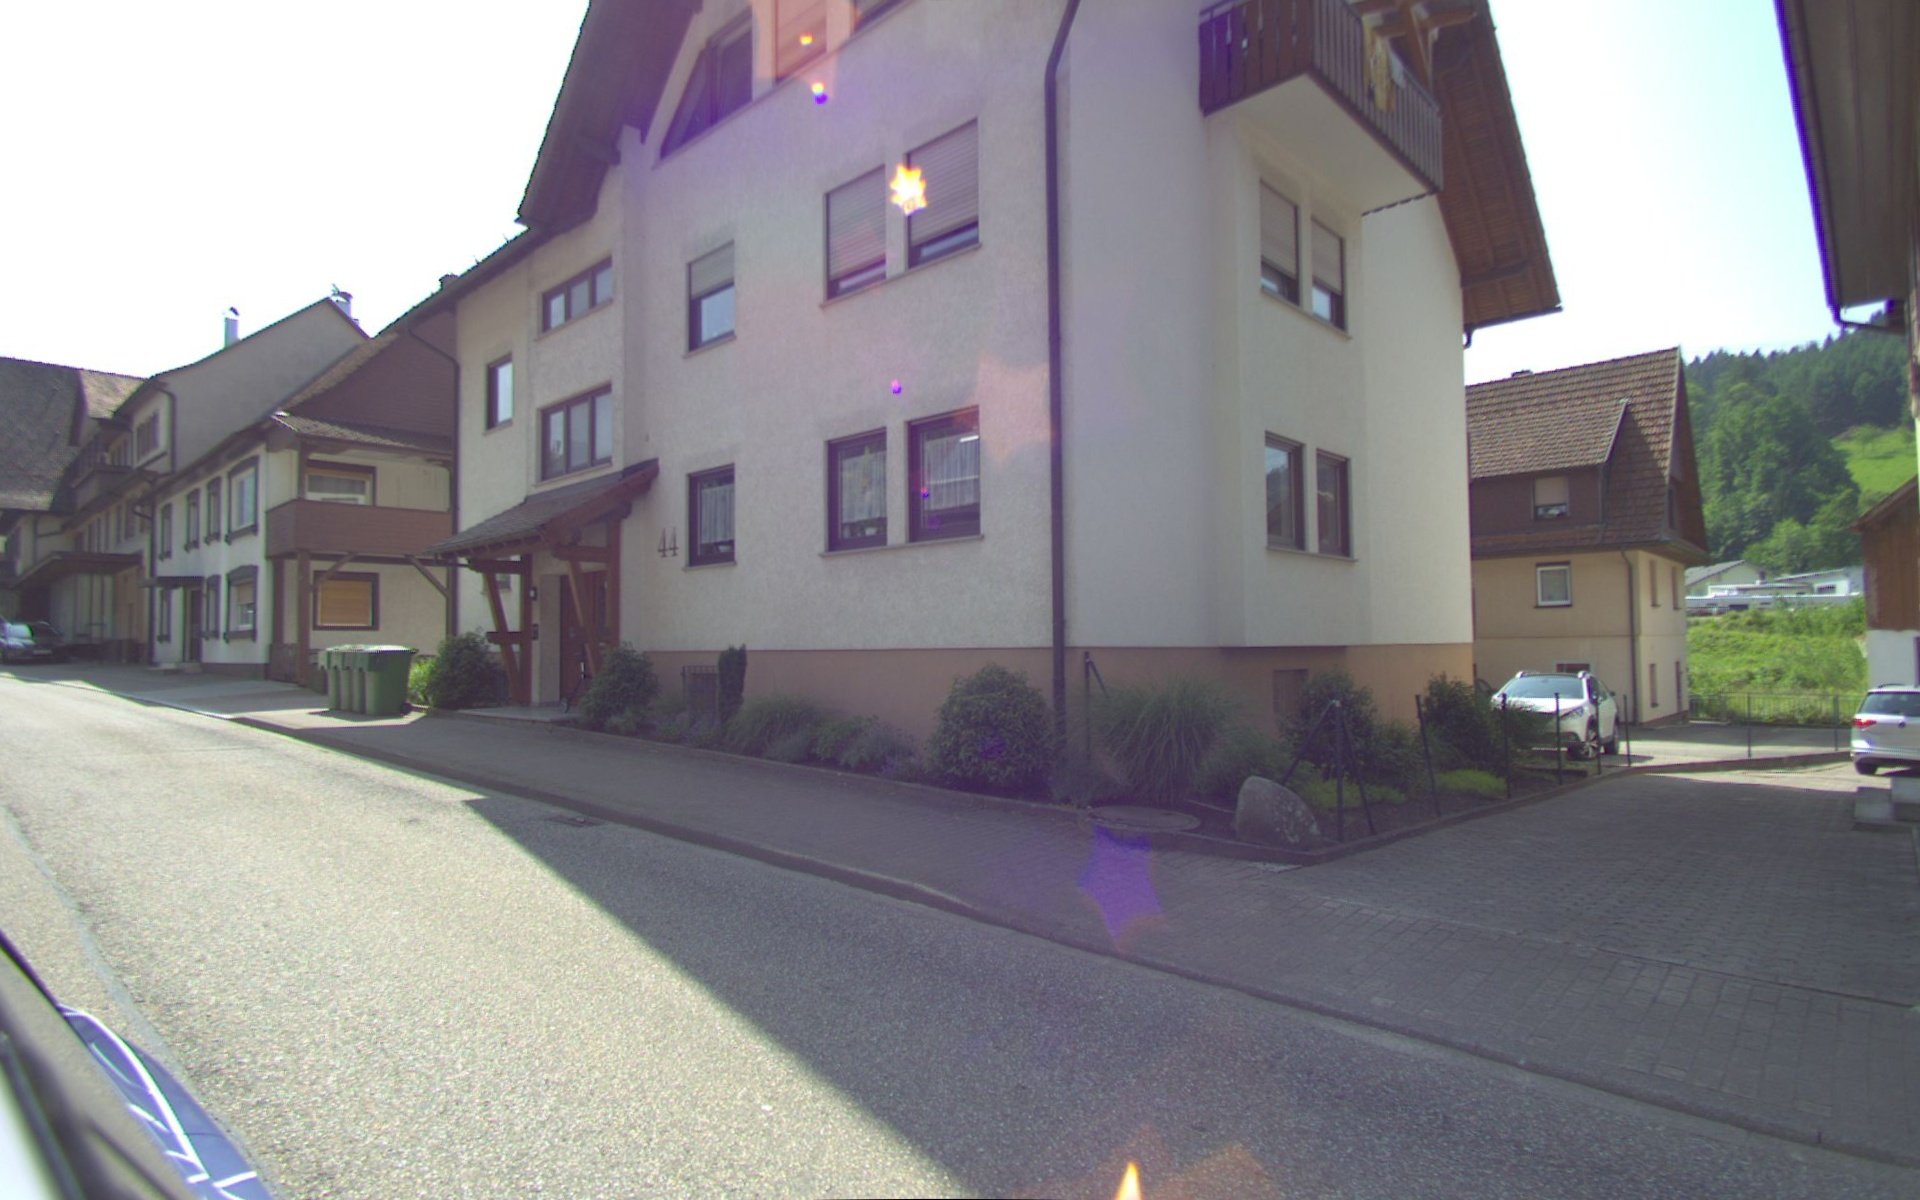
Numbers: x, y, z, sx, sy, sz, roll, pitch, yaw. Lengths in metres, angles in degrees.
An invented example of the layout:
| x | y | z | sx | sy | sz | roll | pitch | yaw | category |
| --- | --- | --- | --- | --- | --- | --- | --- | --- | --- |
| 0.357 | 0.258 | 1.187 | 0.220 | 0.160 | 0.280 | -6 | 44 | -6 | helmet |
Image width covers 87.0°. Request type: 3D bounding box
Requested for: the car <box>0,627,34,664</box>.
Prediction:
| x | y | z | sx | sy | sz | roll | pitch | yaw | category |
| --- | --- | --- | --- | --- | --- | --- | --- | --- | --- |
| -40.389 | 1.818 | 40.971 | 1.752 | 1.514 | 4.053 | -2 | -3 | 40 | car |

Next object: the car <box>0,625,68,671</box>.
| x | y | z | sx | sy | sz | roll | pitch | yaw | category |
| --- | --- | --- | --- | --- | --- | --- | --- | --- | --- |
| -34.191 | 1.707 | 36.993 | 4.281 | 1.565 | 1.752 | -1 | -2 | 40 | car |

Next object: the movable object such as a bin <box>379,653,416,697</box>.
| x | y | z | sx | sy | sz | roll | pitch | yaw | category |
| --- | --- | --- | --- | --- | --- | --- | --- | --- | --- |
| -14.170 | 1.882 | 25.487 | 0.632 | 1.059 | 0.600 | -1 | -4 | 42 | movable object such as a bin |

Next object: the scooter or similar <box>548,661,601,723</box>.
| x | y | z | sx | sy | sz | roll | pitch | yaw | category |
| --- | --- | --- | --- | --- | --- | --- | --- | --- | --- |
| -5.362 | 1.266 | 14.076 | 0.537 | 0.832 | 0.500 | -3 | -4 | 41 | scooter or similar |

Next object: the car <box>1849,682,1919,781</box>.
| x | y | z | sx | sy | sz | roll | pitch | yaw | category |
| --- | --- | --- | --- | --- | --- | --- | --- | --- | --- |
| 17.303 | 2.299 | 17.845 | 2.631 | 1.595 | 1.620 | 2 | -3 | -29 | car |

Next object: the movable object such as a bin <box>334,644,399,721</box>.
| x | y | z | sx | sy | sz | roll | pitch | yaw | category |
| --- | --- | --- | --- | --- | --- | --- | --- | --- | --- |
| -9.518 | 1.317 | 16.231 | 0.598 | 1.190 | 0.710 | -2 | -5 | 43 | movable object such as a bin |

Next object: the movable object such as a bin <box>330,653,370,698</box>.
| x | y | z | sx | sy | sz | roll | pitch | yaw | category |
| --- | --- | --- | --- | --- | --- | --- | --- | --- | --- |
| -14.860 | 1.839 | 24.665 | 0.696 | 1.059 | 0.614 | -1 | -4 | 42 | movable object such as a bin |

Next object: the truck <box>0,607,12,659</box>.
| x | y | z | sx | sy | sz | roll | pitch | yaw | category |
| --- | --- | --- | --- | --- | --- | --- | --- | --- | --- |
| -44.332 | 1.451 | 44.110 | 1.996 | 2.283 | 4.128 | -1 | -2 | 36 | truck |

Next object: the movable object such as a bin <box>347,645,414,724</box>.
| x | y | z | sx | sy | sz | roll | pitch | yaw | category |
| --- | --- | --- | --- | --- | --- | --- | --- | --- | --- |
| -9.033 | 1.310 | 15.787 | 0.598 | 1.190 | 0.710 | -2 | -5 | 43 | movable object such as a bin |

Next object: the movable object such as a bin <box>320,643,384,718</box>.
| x | y | z | sx | sy | sz | roll | pitch | yaw | category |
| --- | --- | --- | --- | --- | --- | --- | --- | --- | --- |
| -10.008 | 1.324 | 16.660 | 0.598 | 1.190 | 0.710 | -2 | -5 | 43 | movable object such as a bin |

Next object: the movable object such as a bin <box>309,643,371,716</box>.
| x | y | z | sx | sy | sz | roll | pitch | yaw | category |
| --- | --- | --- | --- | --- | --- | --- | --- | --- | --- |
| -10.486 | 1.331 | 17.115 | 0.598 | 1.190 | 0.710 | -2 | -5 | 43 | movable object such as a bin |

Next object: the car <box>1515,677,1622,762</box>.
| x | y | z | sx | sy | sz | roll | pitch | yaw | category |
| --- | --- | --- | --- | --- | --- | --- | --- | --- | --- |
| 11.055 | 2.126 | 18.553 | 1.509 | 1.364 | 3.255 | 0 | -4 | 28 | car |
